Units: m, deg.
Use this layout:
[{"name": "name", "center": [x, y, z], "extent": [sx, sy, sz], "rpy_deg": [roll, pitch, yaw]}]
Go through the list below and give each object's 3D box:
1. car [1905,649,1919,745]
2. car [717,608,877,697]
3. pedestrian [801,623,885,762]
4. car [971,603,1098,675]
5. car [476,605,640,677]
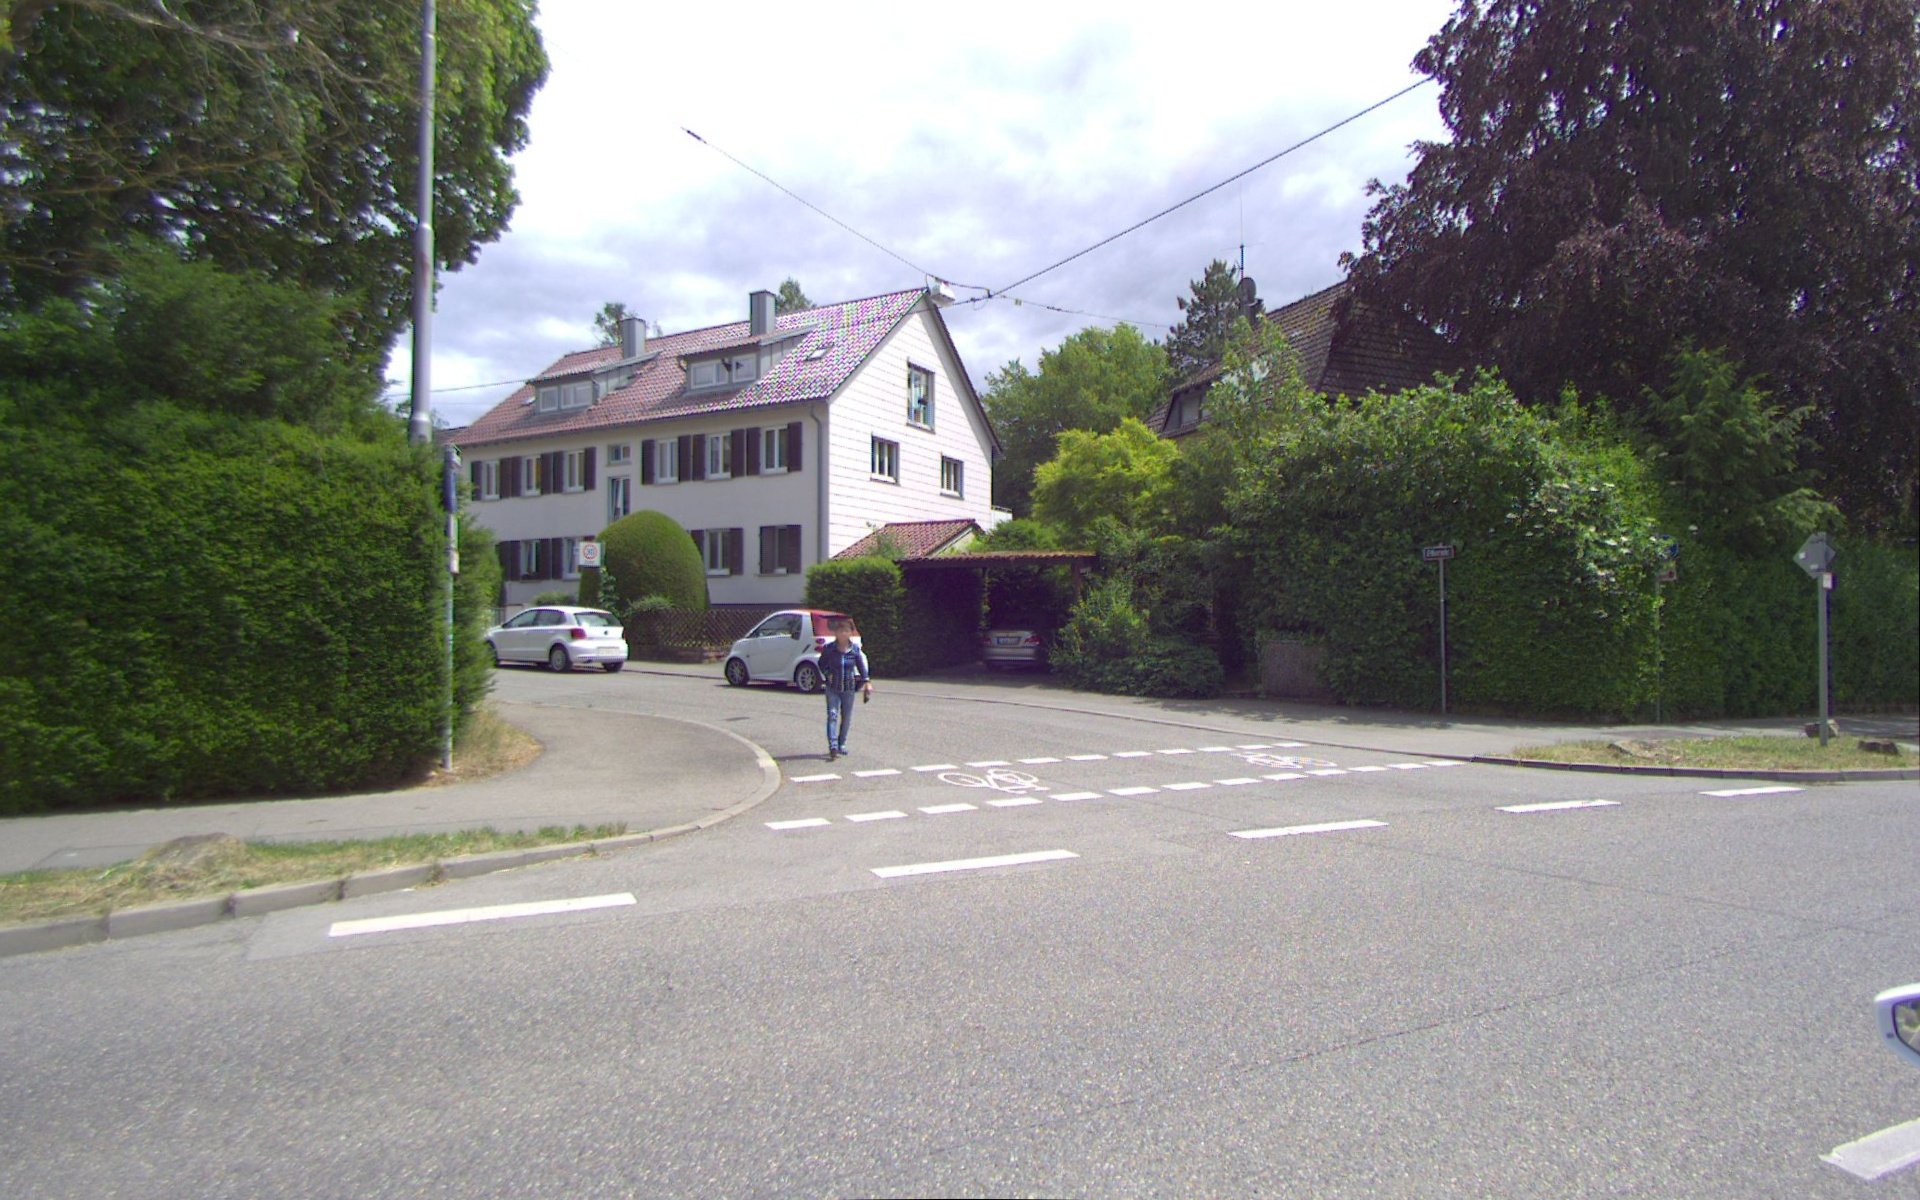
[{"name": "car", "center": [16.399, 1.481, 14.943], "extent": [4.499, 1.396, 1.657], "rpy_deg": [2, 0, -22]}, {"name": "car", "center": [-3.236, 1.002, 19.923], "extent": [2.729, 1.576, 1.586], "rpy_deg": [1, -1, 31]}, {"name": "pedestrian", "center": [-1.353, 1.043, 11.644], "extent": [0.718, 1.528, 0.627], "rpy_deg": [1, -1, 29]}, {"name": "car", "center": [1.865, 0.877, 23.960], "extent": [1.696, 1.530, 3.996], "rpy_deg": [1, 0, 25]}, {"name": "car", "center": [-9.307, 0.915, 23.218], "extent": [3.471, 1.474, 1.712], "rpy_deg": [1, -1, 30]}]
